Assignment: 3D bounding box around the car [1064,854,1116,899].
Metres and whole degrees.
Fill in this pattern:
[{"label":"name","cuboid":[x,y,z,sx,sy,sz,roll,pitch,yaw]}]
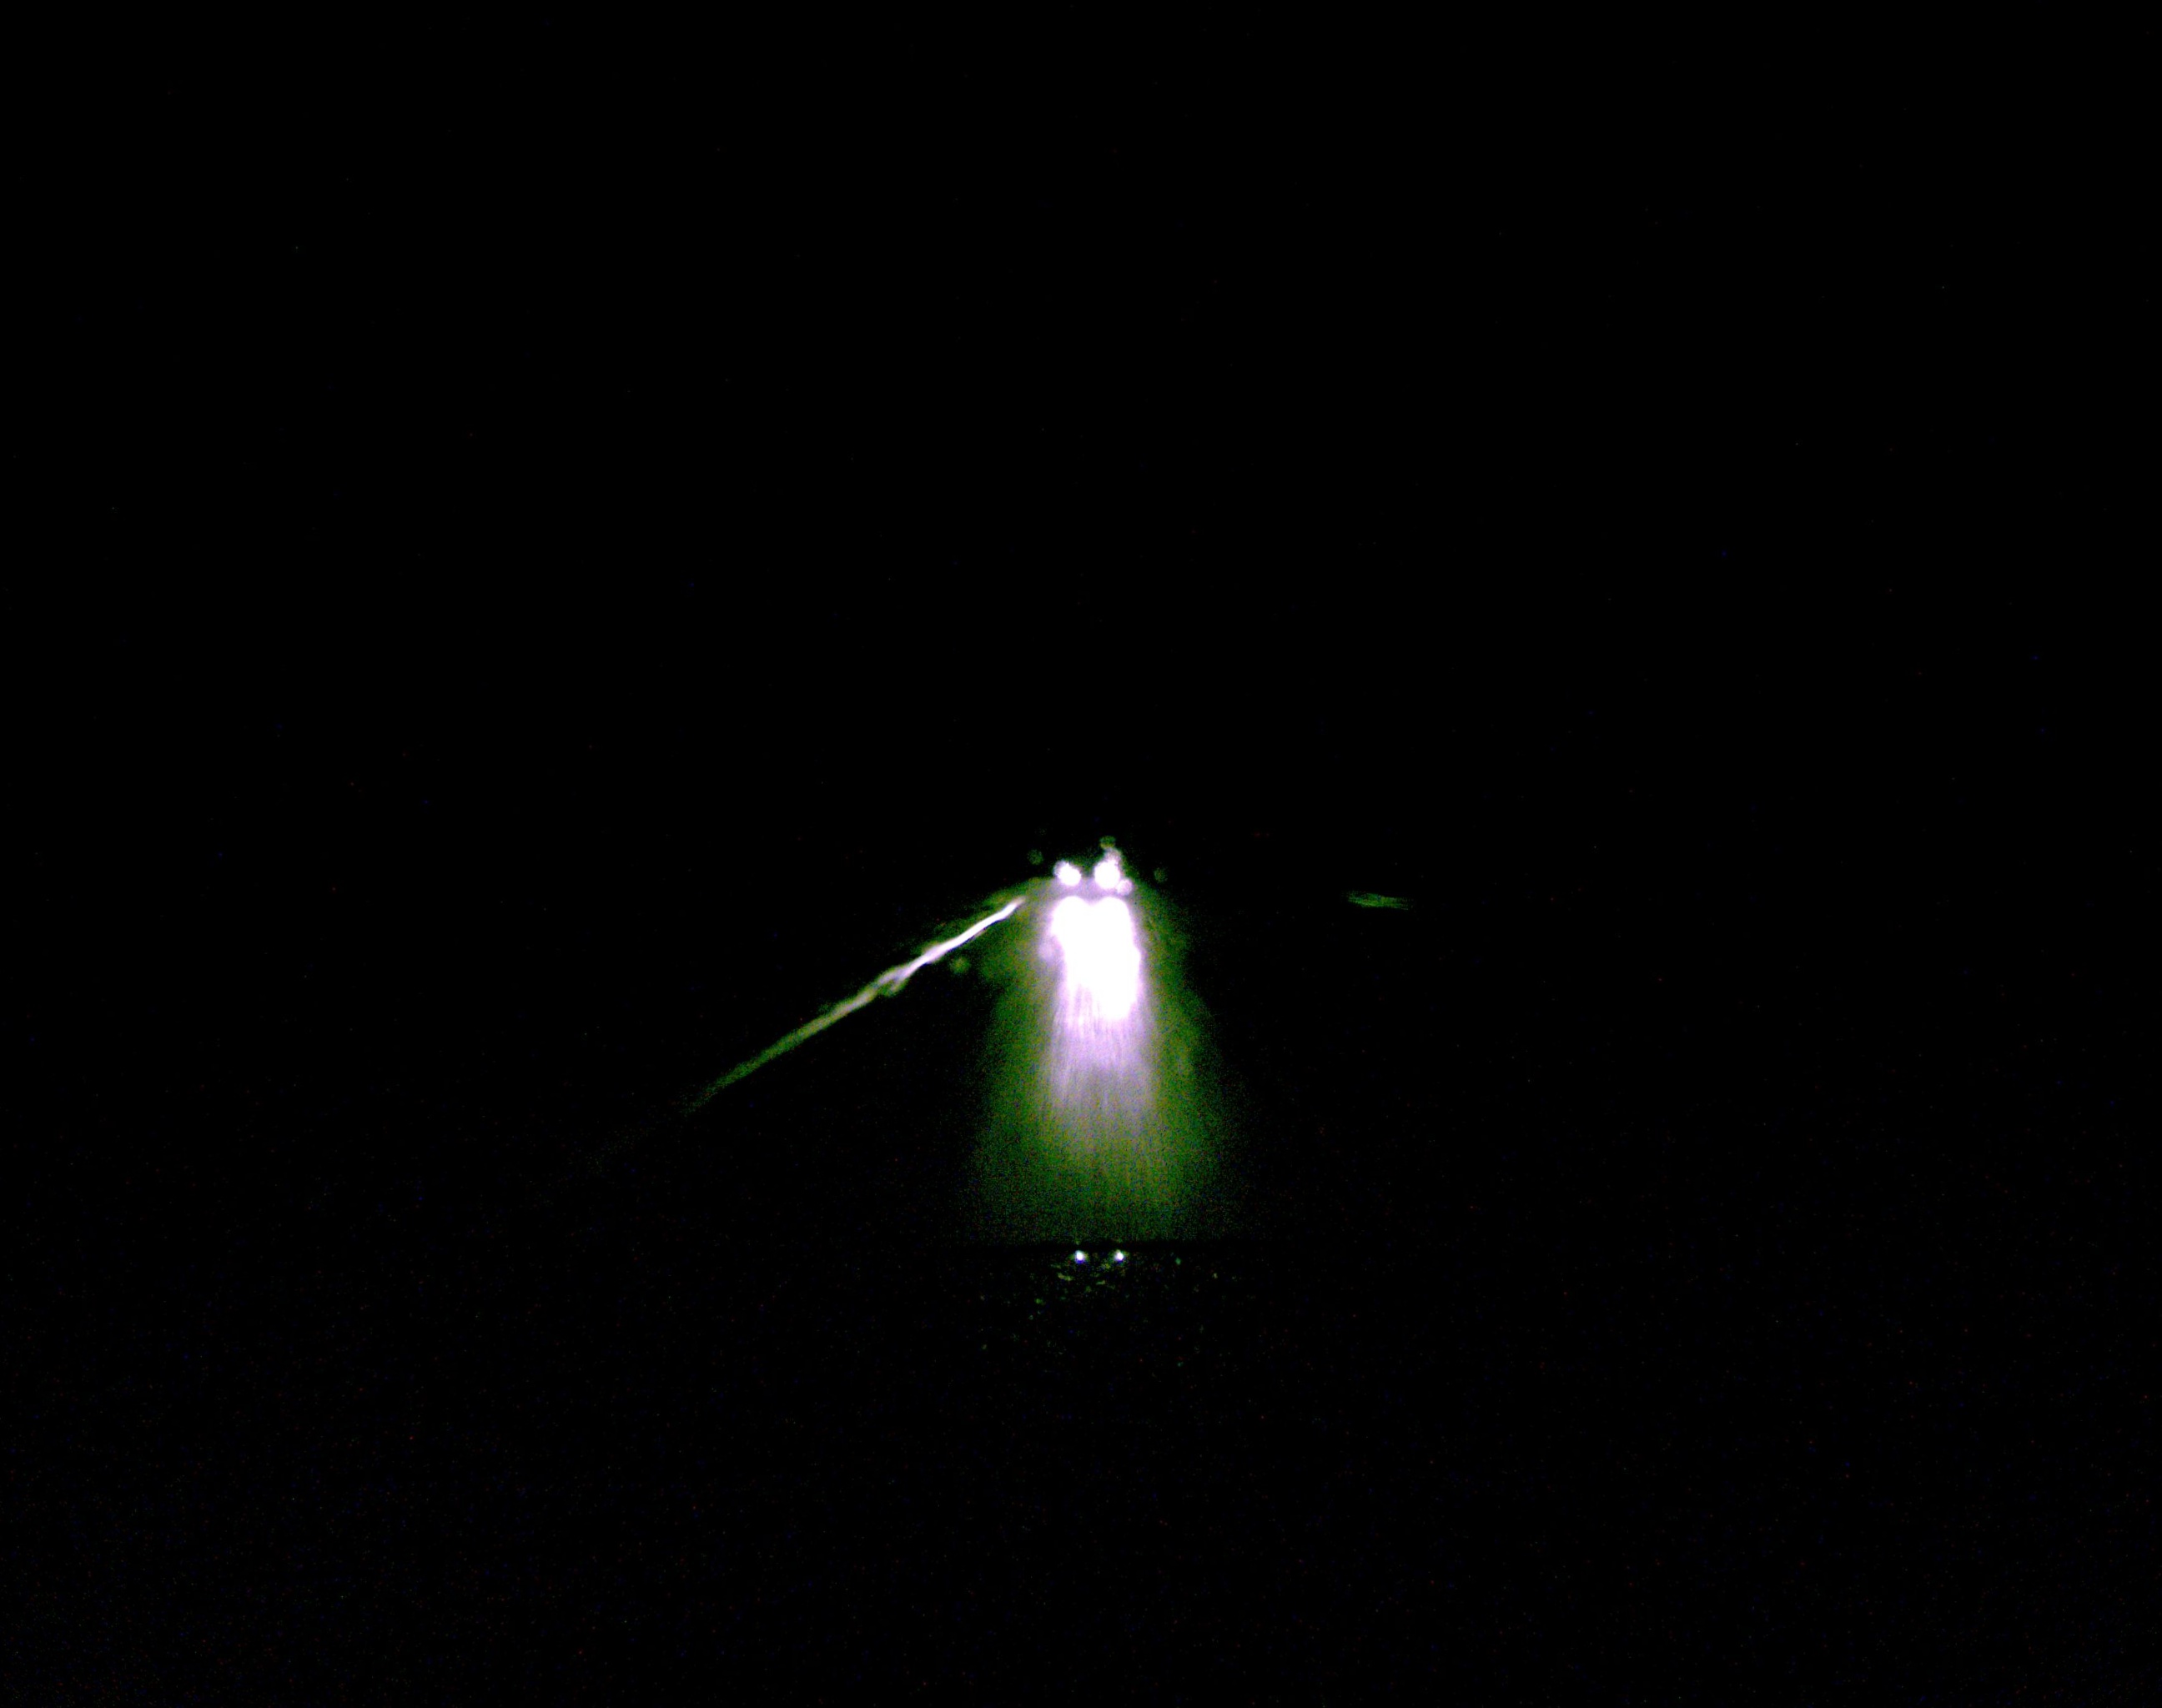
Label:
[{"label":"car","cuboid":[0.413,0.824,29.644,1.792,1.593,4.001,0,0,4]}]
